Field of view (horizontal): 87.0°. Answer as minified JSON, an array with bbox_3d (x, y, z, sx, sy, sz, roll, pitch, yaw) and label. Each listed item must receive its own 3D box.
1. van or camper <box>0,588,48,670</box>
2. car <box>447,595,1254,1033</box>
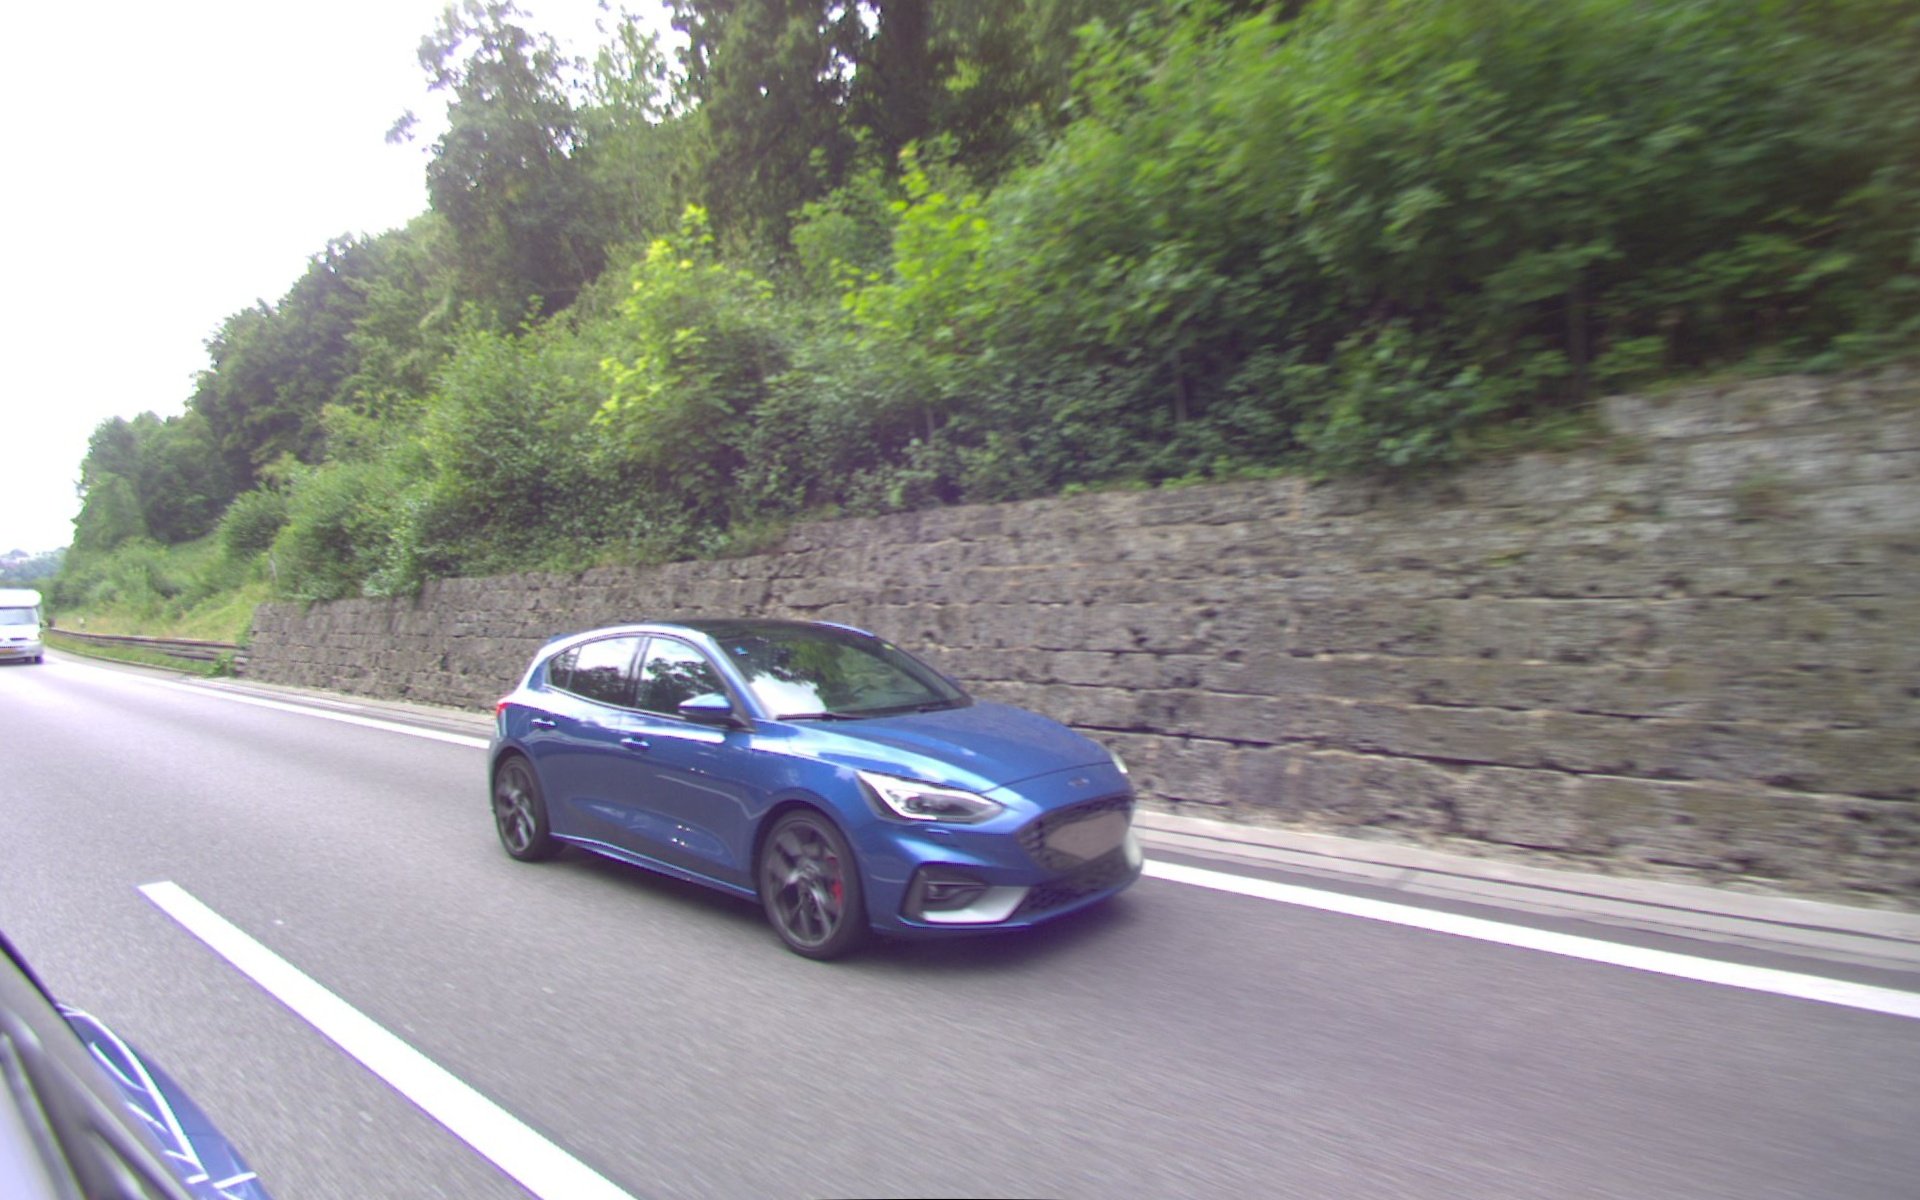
[{"bbox_3d":[-34.867,1.049,36.601,7.025,2.756,2.240,-2,-1,43],"label":"van or camper"},{"bbox_3d":[-0.916,0.760,5.620,4.551,1.480,1.817,-1,0,40],"label":"car"}]
